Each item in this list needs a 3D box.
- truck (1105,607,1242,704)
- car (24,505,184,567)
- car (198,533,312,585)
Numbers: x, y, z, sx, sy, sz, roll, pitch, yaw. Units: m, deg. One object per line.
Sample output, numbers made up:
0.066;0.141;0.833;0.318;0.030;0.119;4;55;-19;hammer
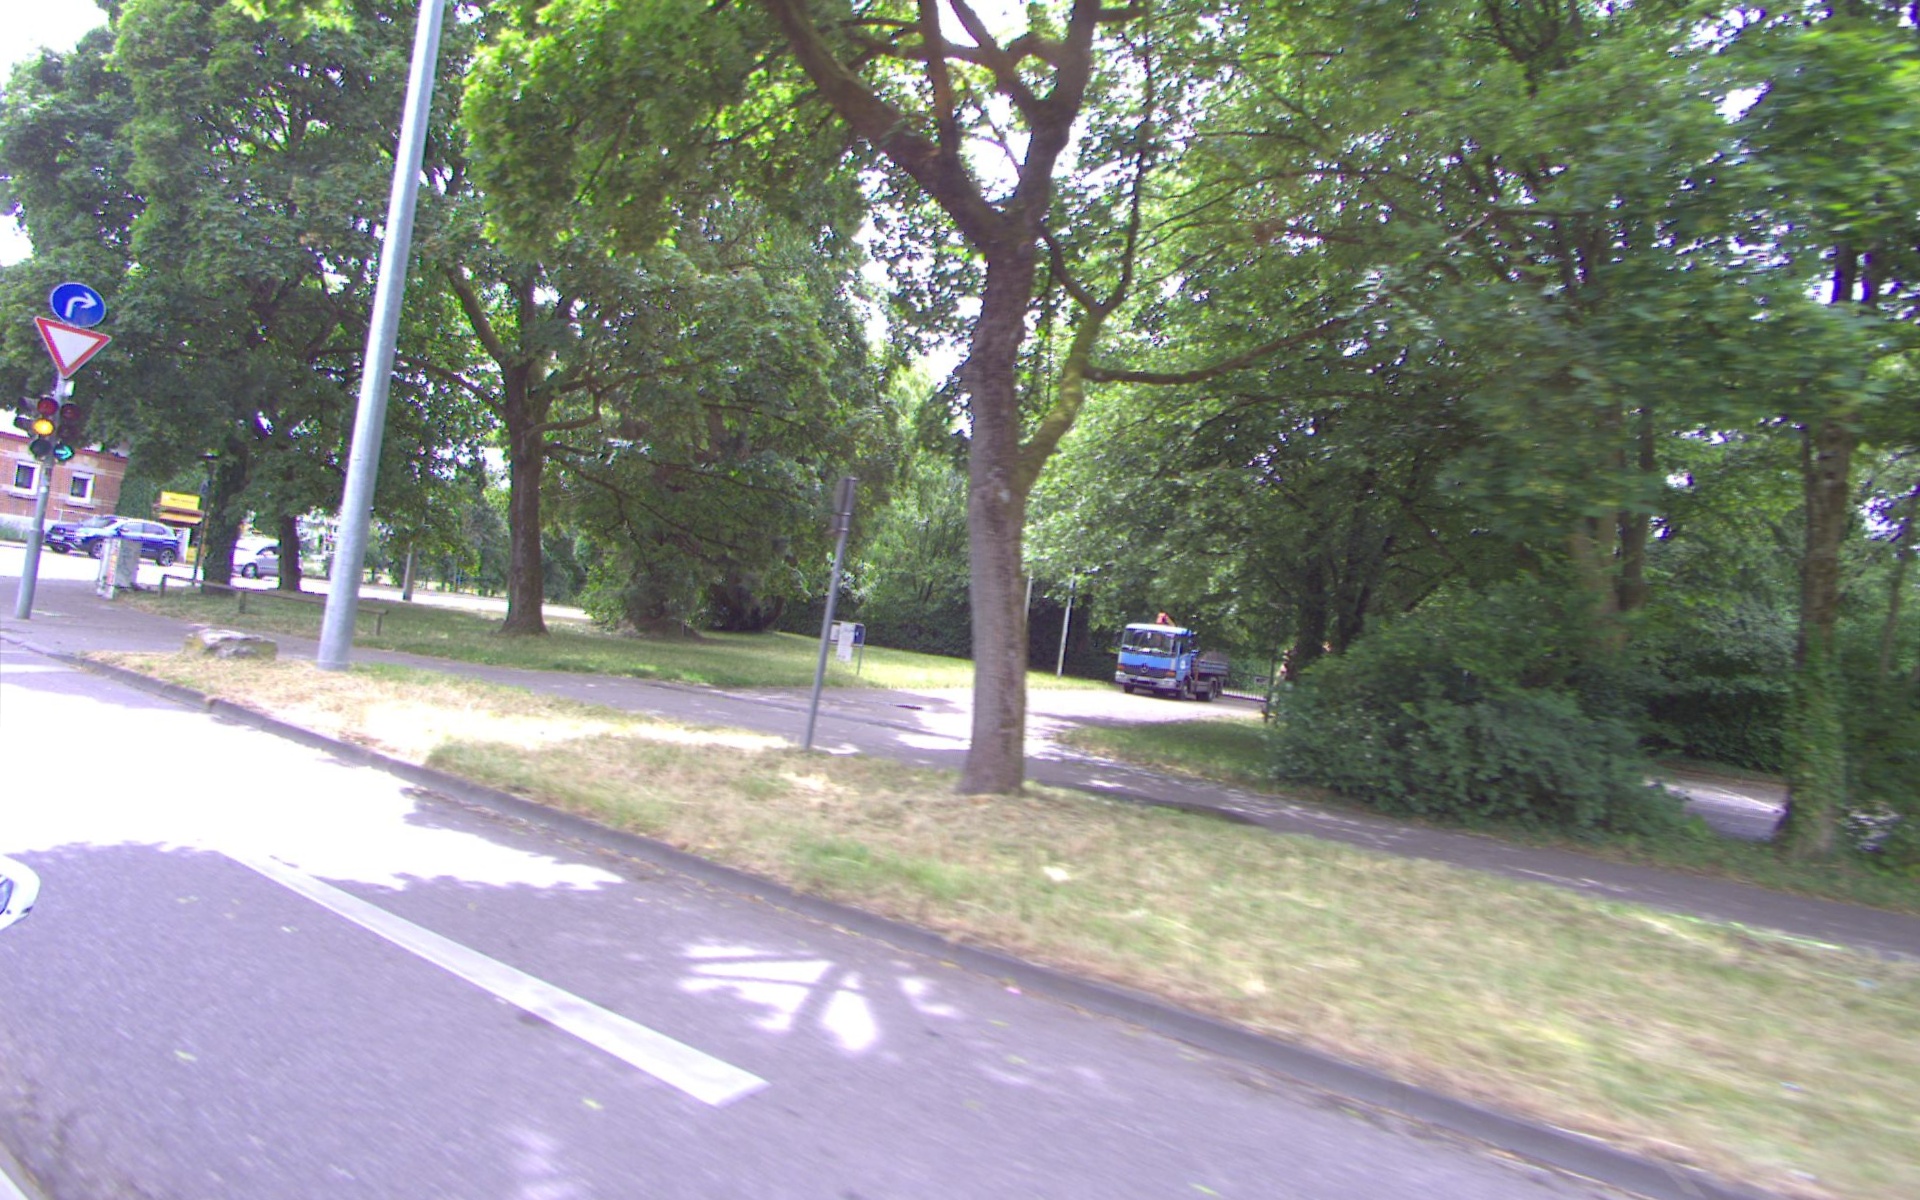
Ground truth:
8.166;2.198;37.607;2.441;2.879;7.425;7;-2;31;truck
-30.574;-2.233;36.097;1.891;1.536;4.005;7;-2;7;car
-27.219;-1.550;38.983;1.748;1.536;3.560;6;-2;1;car
